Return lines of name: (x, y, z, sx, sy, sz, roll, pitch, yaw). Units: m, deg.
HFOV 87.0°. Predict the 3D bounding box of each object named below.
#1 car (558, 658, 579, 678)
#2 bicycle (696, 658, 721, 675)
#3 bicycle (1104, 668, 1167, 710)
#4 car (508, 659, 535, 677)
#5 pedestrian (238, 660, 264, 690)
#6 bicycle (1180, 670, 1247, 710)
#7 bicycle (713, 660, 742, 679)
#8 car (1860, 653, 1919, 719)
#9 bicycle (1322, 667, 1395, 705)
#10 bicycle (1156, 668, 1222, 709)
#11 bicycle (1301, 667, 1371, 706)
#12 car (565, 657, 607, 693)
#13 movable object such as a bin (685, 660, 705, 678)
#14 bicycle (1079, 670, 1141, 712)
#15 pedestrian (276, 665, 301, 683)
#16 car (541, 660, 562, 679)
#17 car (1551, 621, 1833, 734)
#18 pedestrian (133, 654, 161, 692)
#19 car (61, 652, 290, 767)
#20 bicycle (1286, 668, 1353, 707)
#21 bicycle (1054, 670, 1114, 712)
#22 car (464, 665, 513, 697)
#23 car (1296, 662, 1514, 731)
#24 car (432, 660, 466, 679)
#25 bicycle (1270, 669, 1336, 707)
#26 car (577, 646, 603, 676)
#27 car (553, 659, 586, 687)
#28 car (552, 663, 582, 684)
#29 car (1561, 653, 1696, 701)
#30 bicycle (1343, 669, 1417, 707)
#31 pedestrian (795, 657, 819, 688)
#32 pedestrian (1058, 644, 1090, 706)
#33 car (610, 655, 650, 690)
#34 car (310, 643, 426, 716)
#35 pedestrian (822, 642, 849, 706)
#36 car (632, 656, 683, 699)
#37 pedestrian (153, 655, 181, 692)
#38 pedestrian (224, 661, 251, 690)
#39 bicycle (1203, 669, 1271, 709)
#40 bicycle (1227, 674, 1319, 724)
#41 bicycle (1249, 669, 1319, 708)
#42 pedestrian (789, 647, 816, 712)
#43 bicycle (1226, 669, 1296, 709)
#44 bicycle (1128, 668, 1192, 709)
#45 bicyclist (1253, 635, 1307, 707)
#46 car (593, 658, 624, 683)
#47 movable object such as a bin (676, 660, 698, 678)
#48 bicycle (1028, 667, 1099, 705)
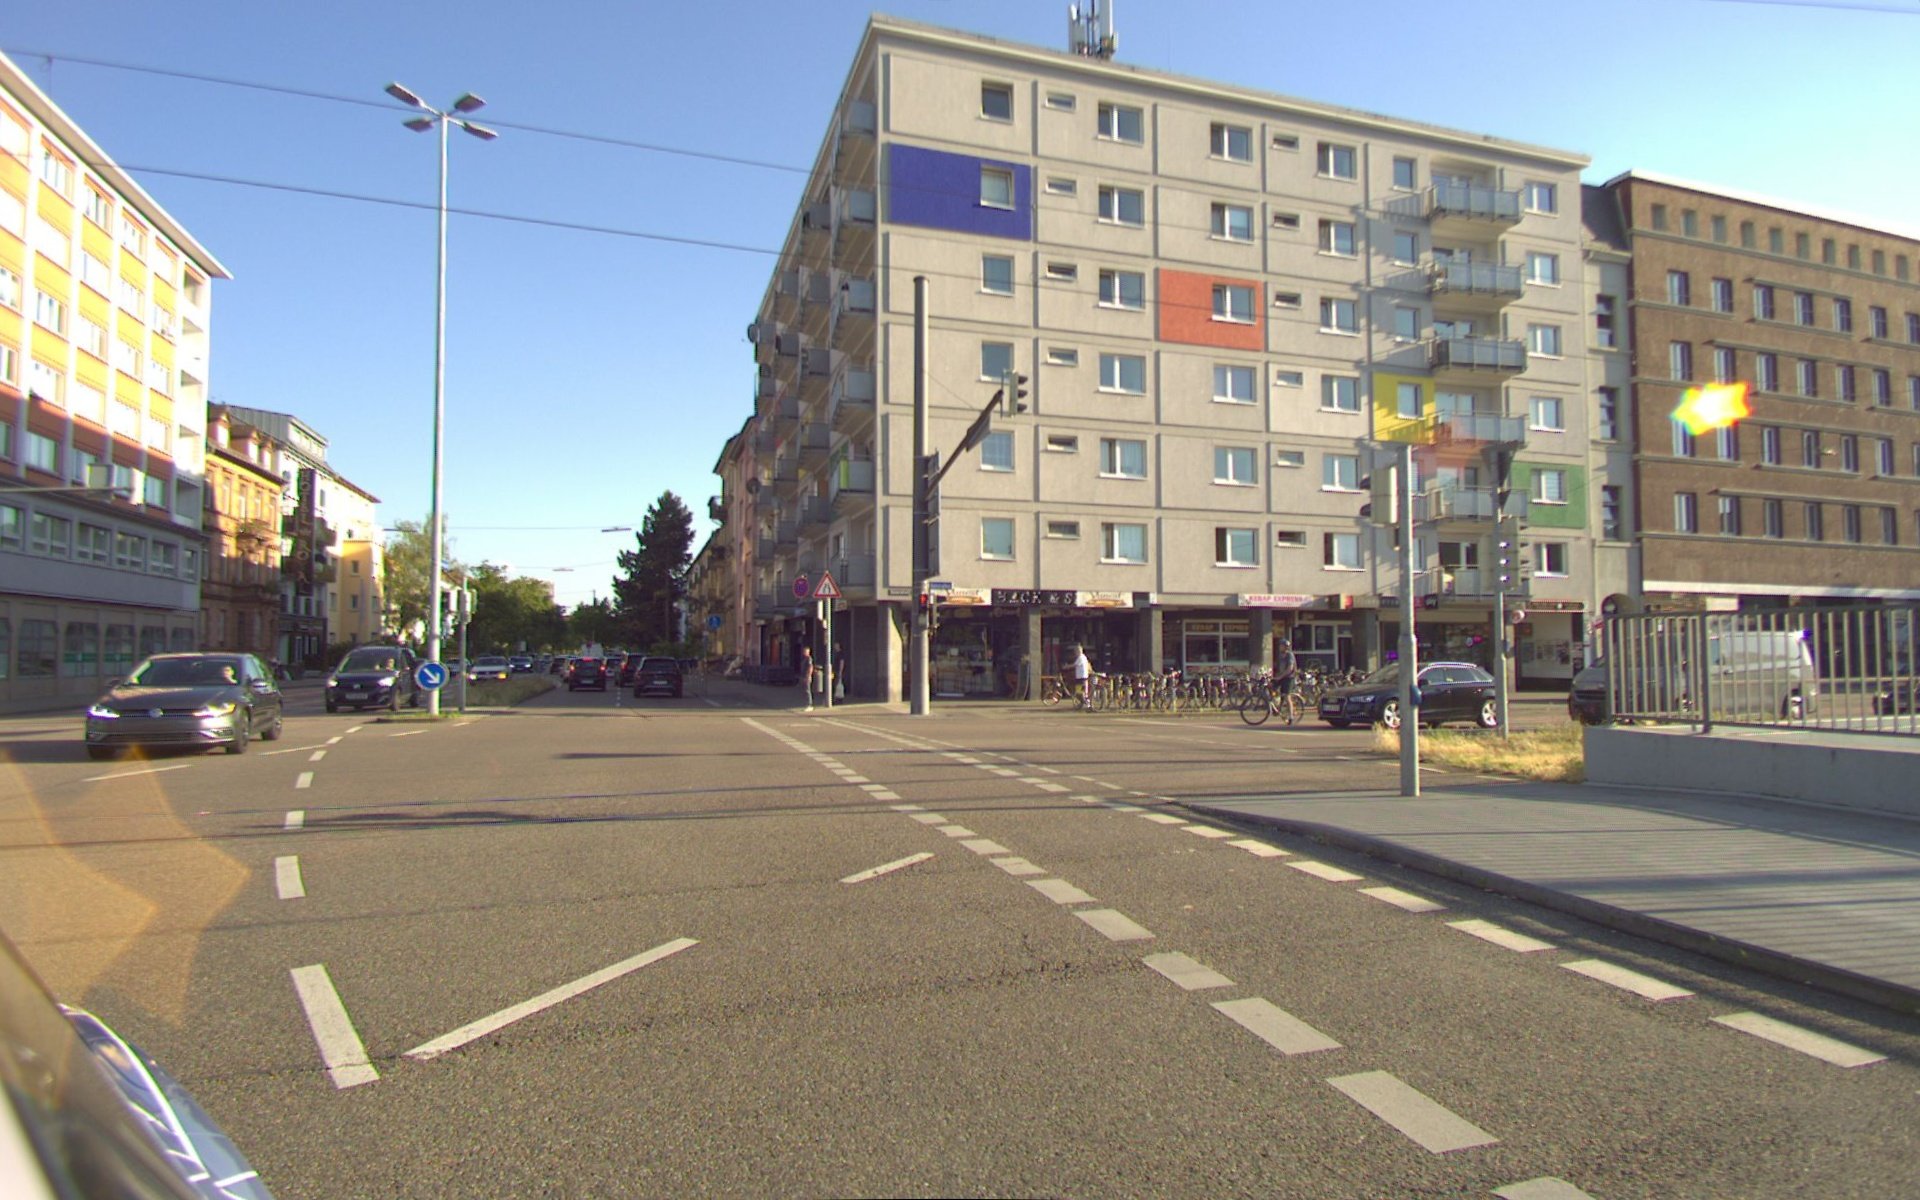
car: (-31.966, 5.575, 82.692, 1.513, 1.605, 2.817, 2, -4, -20)
bicycle: (-18.370, 4.865, 73.890, 1.750, 1.200, 0.475, 1, -4, -20)
bicycle: (4.871, 2.464, 28.249, 0.724, 1.059, 2.306, 1, -3, -18)
car: (-39.596, 6.094, 91.384, 1.875, 1.552, 4.012, 0, -3, -18)
pedestrian: (-39.784, 4.202, 56.800, 0.726, 1.600, 1.013, 4, -4, -13)
bicycle: (7.228, 2.544, 28.971, 0.724, 1.059, 2.306, 1, -3, -18)
bicycle: (-14.650, 4.377, 63.817, 1.750, 1.200, 0.475, 1, -4, -20)
car: (22.321, 1.876, 22.466, 3.846, 1.384, 1.807, 1, -3, -19)
bicycle: (11.954, 2.561, 30.459, 0.724, 1.059, 2.306, 1, -3, -18)
bicycle: (6.478, 2.483, 28.747, 0.724, 1.059, 2.306, 1, -3, -18)
bicycle: (11.209, 2.566, 30.232, 0.636, 1.059, 2.306, 1, -3, -18)
car: (-16.886, 3.397, 45.769, 1.556, 1.556, 3.487, 2, -4, -17)
movable object such as a bin: (-19.382, 5.041, 74.067, 0.846, 1.242, 1.180, -3, -4, 32)
bicycle: (4.118, 2.477, 27.968, 0.724, 1.059, 2.306, 1, -3, -18)
pedestrian: (-42.577, 4.692, 64.168, 1.082, 1.144, 0.927, 1, -4, -20)
car: (-36.181, 6.145, 89.614, 1.651, 1.556, 4.115, 2, -4, -22)
car: (14.375, 1.468, 19.907, 4.853, 2.029, 2.006, 1, -3, -19)
pedestrian: (-38.419, 3.446, 47.852, 0.657, 1.739, 1.014, 1, -4, -18)
car: (-11.580, 1.528, 15.276, 1.741, 1.470, 4.283, 2, -4, -24)
bicycle: (10.658, 2.586, 30.069, 0.553, 1.059, 2.306, 1, -3, -18)
bicycle: (3.367, 2.471, 27.702, 0.724, 1.059, 2.306, 1, -3, -18)
car: (-25.081, 4.282, 53.912, 1.875, 1.552, 4.012, 0, -3, -18)
car: (9.540, 2.020, 21.735, 4.128, 1.323, 1.807, 1, -3, -19)
car: (-43.060, 5.849, 85.399, 1.874, 1.529, 4.086, 0, -3, -17)
bicycle: (10.103, 2.576, 29.892, 0.553, 1.059, 2.306, 1, -3, -18)
car: (-35.121, 5.775, 96.211, 2.100, 2.778, 4.480, 2, -4, -18)
car: (-22.751, 4.227, 58.892, 1.651, 1.556, 3.818, 2, -4, -22)
car: (-28.308, 5.258, 72.814, 1.684, 1.436, 4.115, 3, -4, -25)
car: (22.470, 2.546, 34.043, 3.931, 1.520, 1.701, 1, -3, -20)
bicycle: (12.707, 2.640, 30.702, 0.724, 1.059, 2.306, 1, -3, -18)
pedestrian: (-6.983, 3.307, 46.264, 0.958, 1.357, 0.885, 1, -3, -18)
pedestrian: (3.310, 2.166, 29.379, 0.600, 1.736, 0.687, -2, -3, -18)
car: (-17.219, 3.745, 52.691, 1.790, 1.724, 4.800, 2, -4, -20)
car: (-16.484, 2.188, 28.416, 1.864, 1.868, 4.480, 2, -4, -19)
pedestrian: (-3.801, 2.255, 30.852, 0.600, 1.890, 0.814, -2, -3, -17)
car: (-11.833, 3.013, 39.441, 1.769, 1.577, 4.159, 1, -4, -18)
pedestrian: (-37.624, 3.468, 48.027, 0.657, 1.739, 1.014, 1, -3, -17)
pedestrian: (-40.527, 4.230, 56.784, 0.774, 1.600, 1.013, 4, -4, -13)
bicycle: (7.962, 2.542, 29.179, 0.724, 1.059, 2.306, 1, -3, -18)
bicycle: (7.133, 2.244, 23.127, 1.752, 1.106, 0.954, 2, -4, -17)
bicycle: (9.468, 2.581, 29.700, 0.724, 1.059, 2.306, 1, -3, -18)
pedestrian: (-4.518, 2.275, 29.014, 0.600, 1.800, 0.814, -2, -3, -14)
bicycle: (8.717, 2.566, 29.420, 0.724, 1.059, 2.306, 1, -3, -18)
bicycle: (5.607, 2.481, 28.518, 0.724, 1.059, 2.306, 1, -3, -18)
bicyclist: (7.345, 1.632, 23.239, 0.726, 1.610, 0.966, 2, -4, -17)
car: (-22.923, 4.595, 65.933, 1.651, 1.556, 3.649, 2, -4, -22)
movable object such as a bin: (-20.152, 5.084, 74.605, 0.926, 1.242, 1.278, -3, -4, 32)
bicycle: (3.067, 2.541, 29.911, 2.031, 1.100, 0.521, 2, -4, -18)
